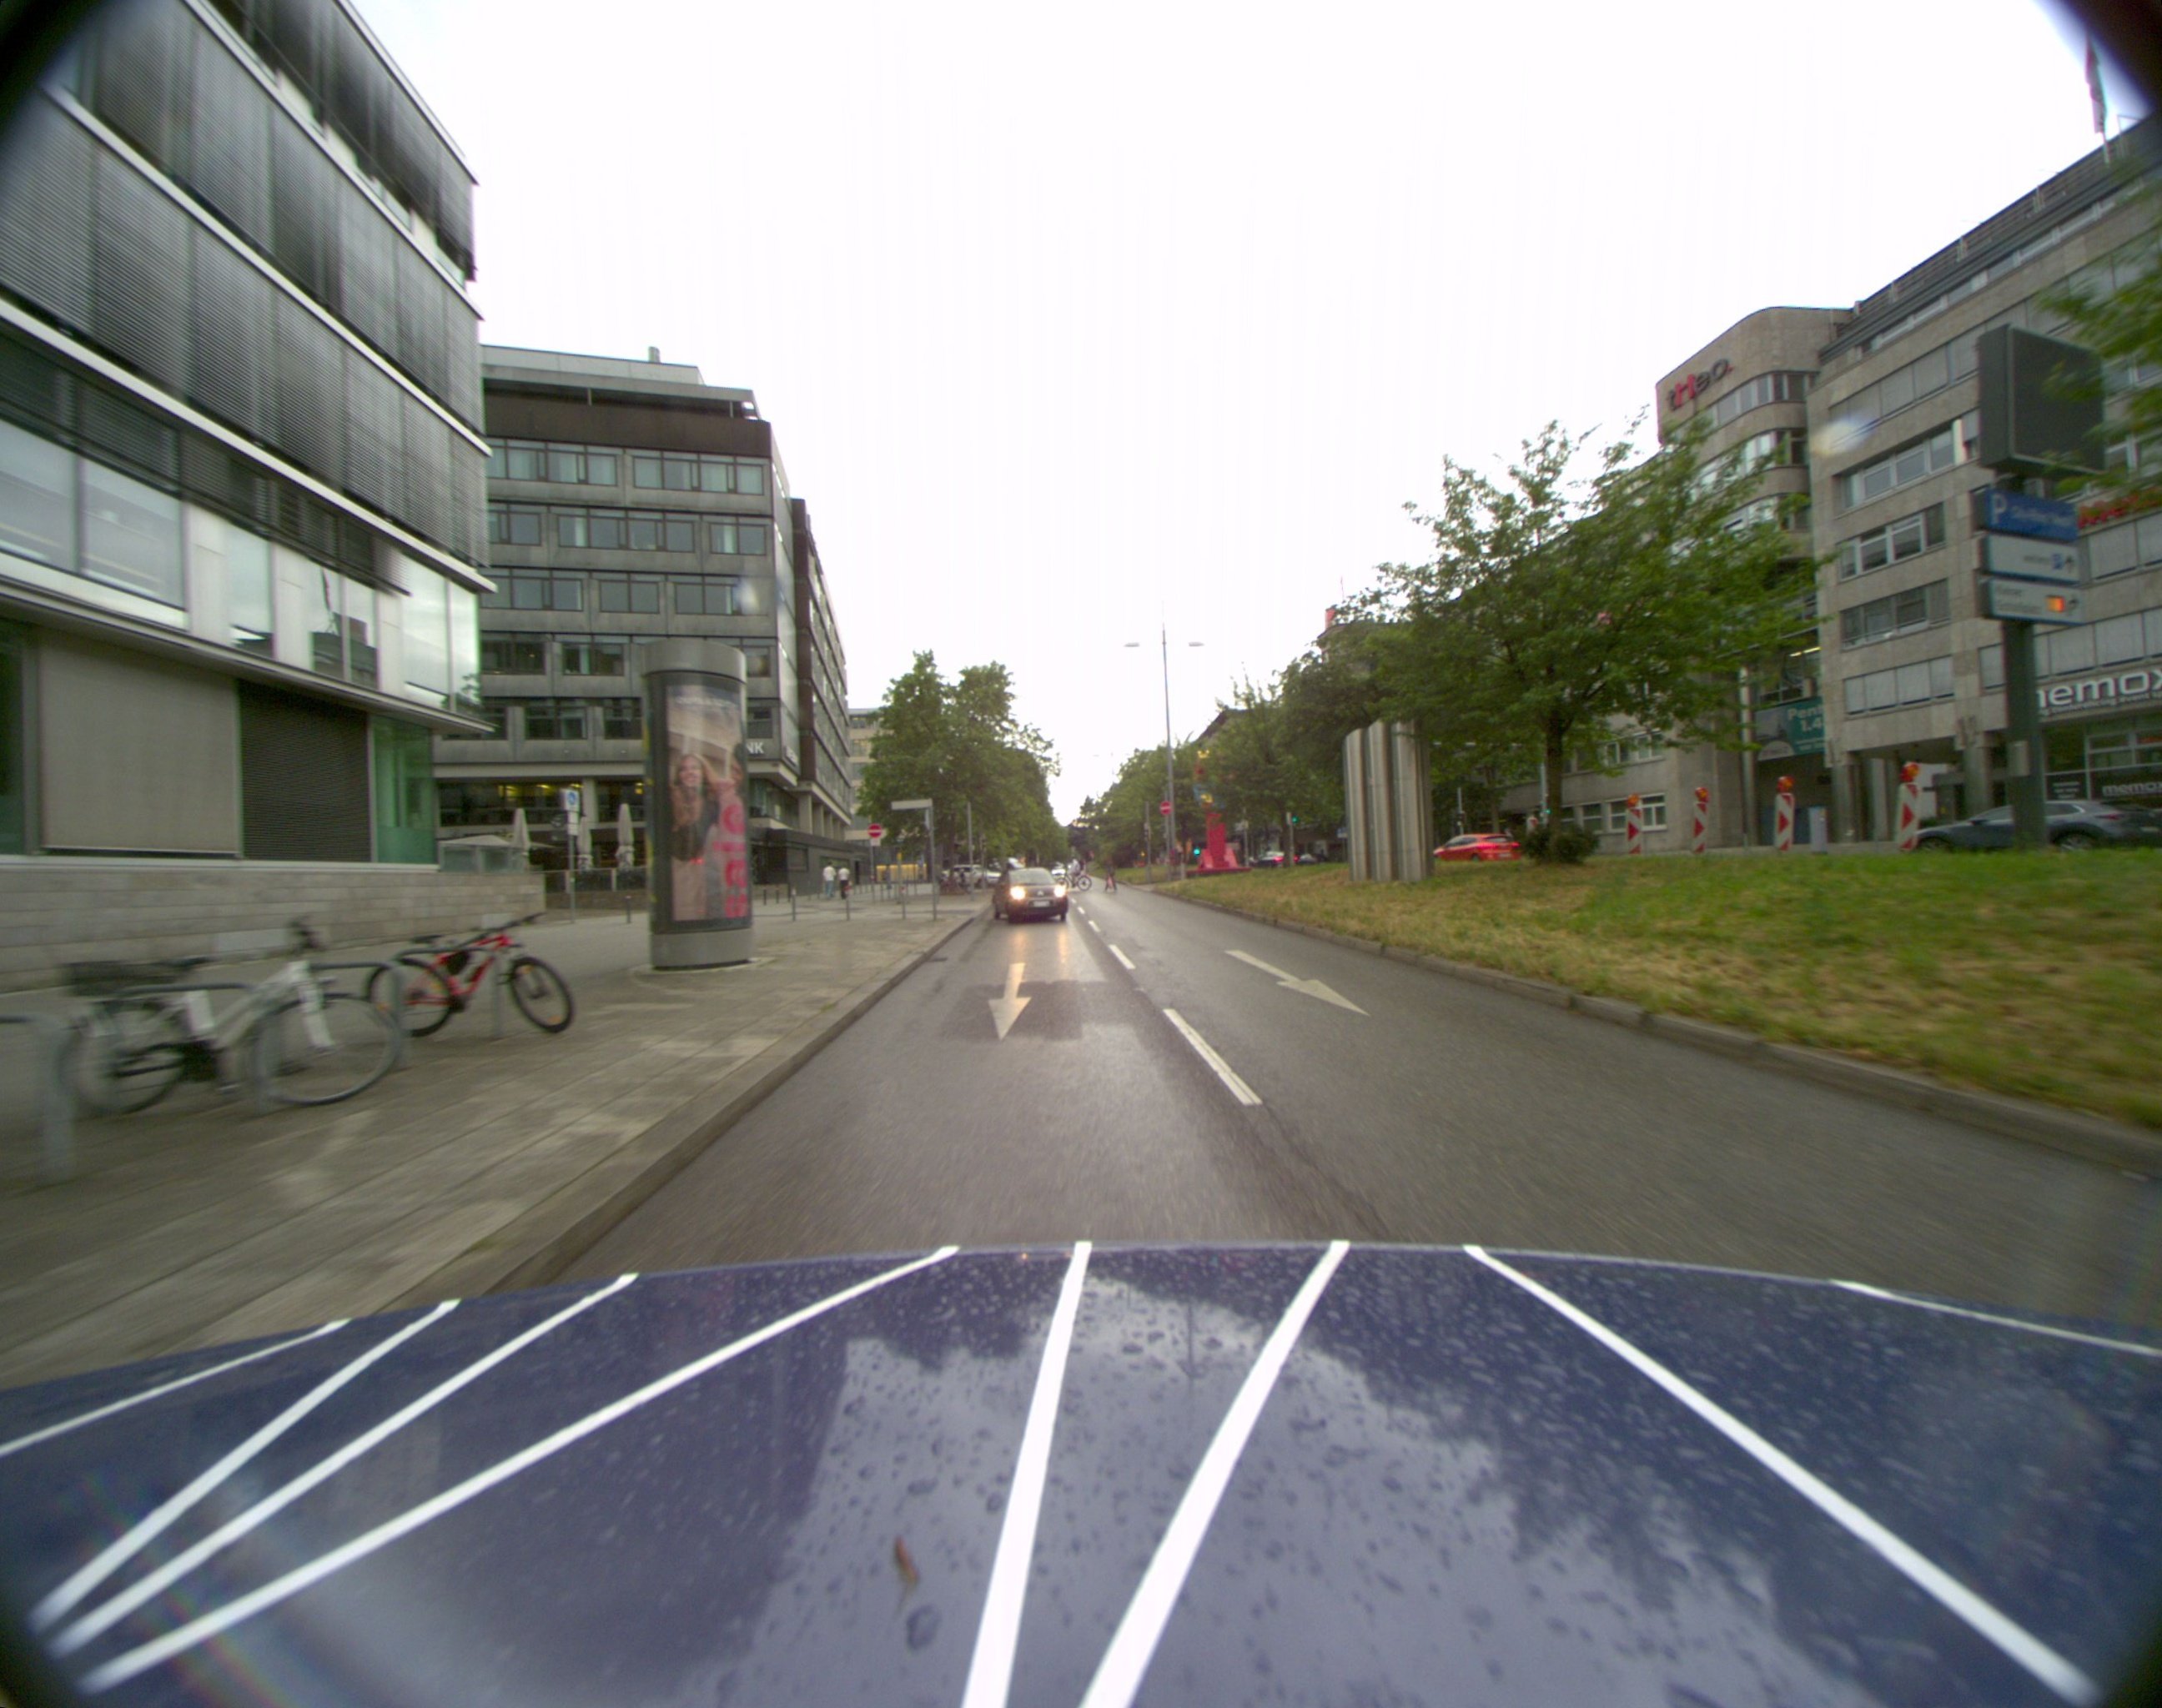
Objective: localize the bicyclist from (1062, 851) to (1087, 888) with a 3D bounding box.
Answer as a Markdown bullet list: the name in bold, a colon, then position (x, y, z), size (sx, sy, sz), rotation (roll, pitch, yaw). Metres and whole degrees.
- **bicyclist**: position (-0.305, 0.775, 38.491), size (1.079, 1.739, 0.812), rotation (-6, 2, 0)

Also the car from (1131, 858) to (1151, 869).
- **car**: position (8.335, 1.374, 105.345), size (1.795, 1.458, 4.723), rotation (-1, -1, -7)

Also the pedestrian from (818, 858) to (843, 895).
- **pedestrian**: position (-12.683, 1.130, 38.520), size (0.802, 1.857, 0.899), rotation (-3, 0, 6)

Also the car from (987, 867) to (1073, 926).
- **car**: position (-1.544, 1.126, 21.517), size (1.636, 1.408, 3.830), rotation (-3, 0, -15)

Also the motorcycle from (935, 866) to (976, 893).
- **motorcycle**: position (-7.065, 1.428, 42.845), size (2.087, 1.349, 0.677), rotation (-3, 0, 6)

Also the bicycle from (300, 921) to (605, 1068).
- **bicycle**: position (-5.398, 1.188, 6.618), size (1.988, 1.097, 0.808), rotation (-2, 0, 2)

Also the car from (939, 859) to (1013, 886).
- **car**: position (-7.247, 1.283, 52.371), size (4.793, 1.640, 1.920), rotation (-4, 0, 28)

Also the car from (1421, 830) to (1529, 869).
- **car**: position (15.840, -0.156, 30.819), size (1.867, 1.421, 4.130), rotation (-2, -1, -6)

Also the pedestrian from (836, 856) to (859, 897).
- **pedestrian**: position (-11.944, 1.131, 38.814), size (0.852, 2.027, 0.753), rotation (-3, 0, -2)

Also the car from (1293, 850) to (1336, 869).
- **car**: position (19.743, 0.485, 64.480), size (1.867, 1.421, 4.564), rotation (-2, -1, -4)

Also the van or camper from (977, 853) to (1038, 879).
- **van or camper**: position (-8.029, 1.298, 83.118), size (6.251, 2.432, 2.319), rotation (-4, 0, 28)

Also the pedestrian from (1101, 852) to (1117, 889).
- **pedestrian**: position (1.301, 0.769, 35.103), size (0.528, 1.675, 0.722), rotation (-3, 0, 11)

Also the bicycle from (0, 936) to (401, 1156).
- **bicycle**: position (-5.474, 1.161, 4.762), size (1.840, 1.190, 0.660), rotation (-1, 0, 2)

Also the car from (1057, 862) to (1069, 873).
- **car**: position (-2.979, 2.216, 125.364), size (1.791, 1.736, 4.574), rotation (-2, -1, -4)

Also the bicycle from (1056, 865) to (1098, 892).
- **bicycle**: position (-0.203, 1.230, 38.490), size (1.977, 1.132, 0.777), rotation (-6, 0, -1)

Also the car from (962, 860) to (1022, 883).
- **car**: position (-7.066, 1.391, 60.360), size (4.348, 1.528, 1.919), rotation (-4, 0, 25)

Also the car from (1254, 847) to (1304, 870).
- **car**: position (13.669, 0.331, 52.825), size (1.867, 1.421, 4.564), rotation (-2, -1, -6)

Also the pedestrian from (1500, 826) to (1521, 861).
- **pedestrian**: position (22.066, -0.543, 39.037), size (0.529, 1.777, 0.721), rotation (-3, 0, -1)

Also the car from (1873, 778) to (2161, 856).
- **car**: position (24.113, -0.851, 19.716), size (1.867, 1.715, 4.790), rotation (-3, 0, -4)

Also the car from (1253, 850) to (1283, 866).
- **car**: position (18.328, 0.376, 74.618), size (1.691, 1.493, 3.691), rotation (-2, -1, -4)

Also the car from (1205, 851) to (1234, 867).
- **car**: position (12.832, 0.449, 70.611), size (1.794, 1.406, 3.999), rotation (-1, -1, -3)
